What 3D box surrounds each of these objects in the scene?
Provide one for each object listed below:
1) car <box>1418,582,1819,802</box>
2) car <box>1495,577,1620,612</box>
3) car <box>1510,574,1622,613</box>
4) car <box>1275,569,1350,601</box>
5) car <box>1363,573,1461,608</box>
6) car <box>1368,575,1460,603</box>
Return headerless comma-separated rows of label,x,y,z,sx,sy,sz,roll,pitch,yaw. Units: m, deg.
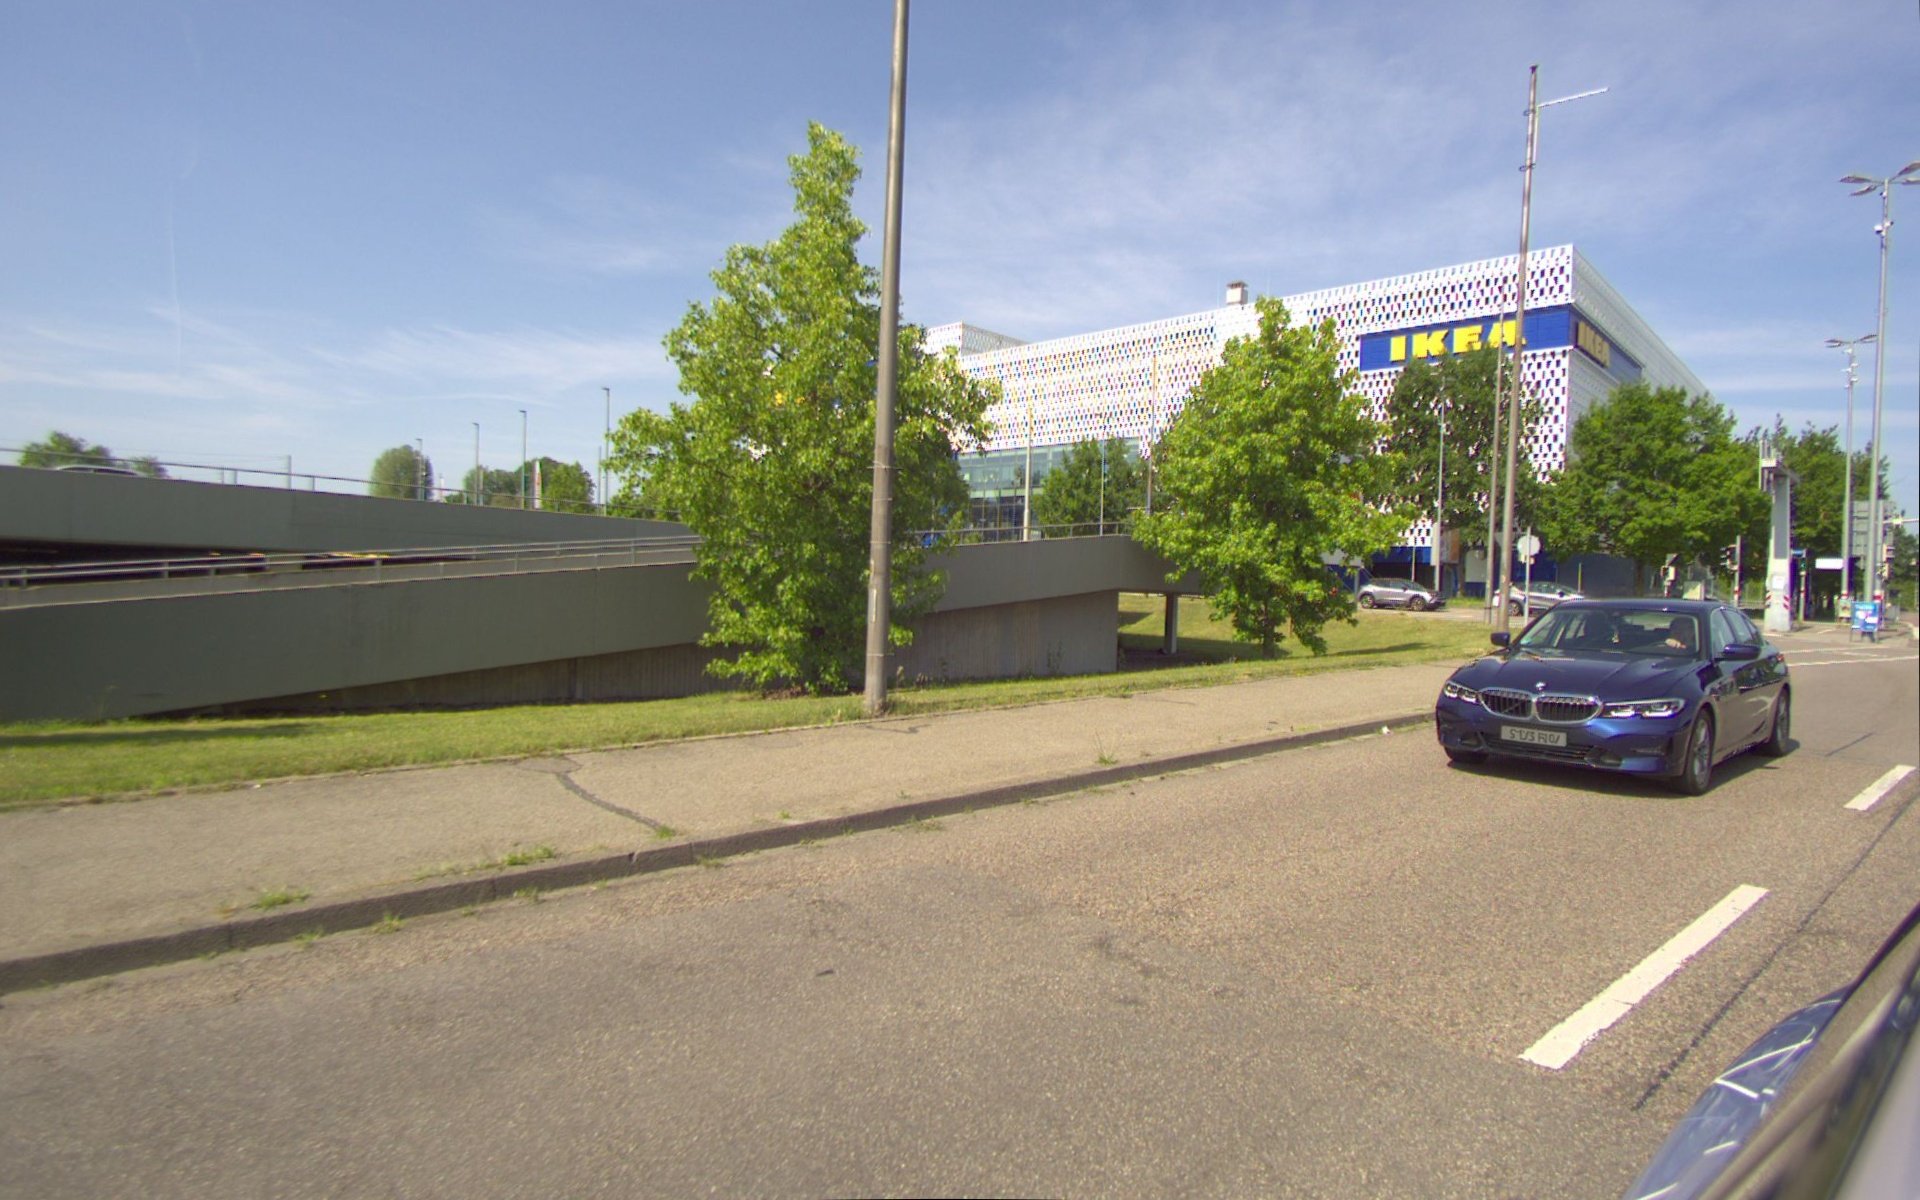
car,5.960,0.600,8.925,4.459,1.447,1.799,0,2,-41
car,28.094,-0.297,47.721,1.926,1.443,4.724,-1,3,-42
car,26.742,-0.305,44.764,1.777,1.578,3.892,0,2,-41
car,18.860,-0.829,54.252,1.571,1.595,3.476,1,2,-41
car,22.359,-0.517,50.169,1.876,1.527,4.034,-1,3,-42
car,23.772,-0.618,53.040,1.695,1.358,4.050,-1,2,-43
